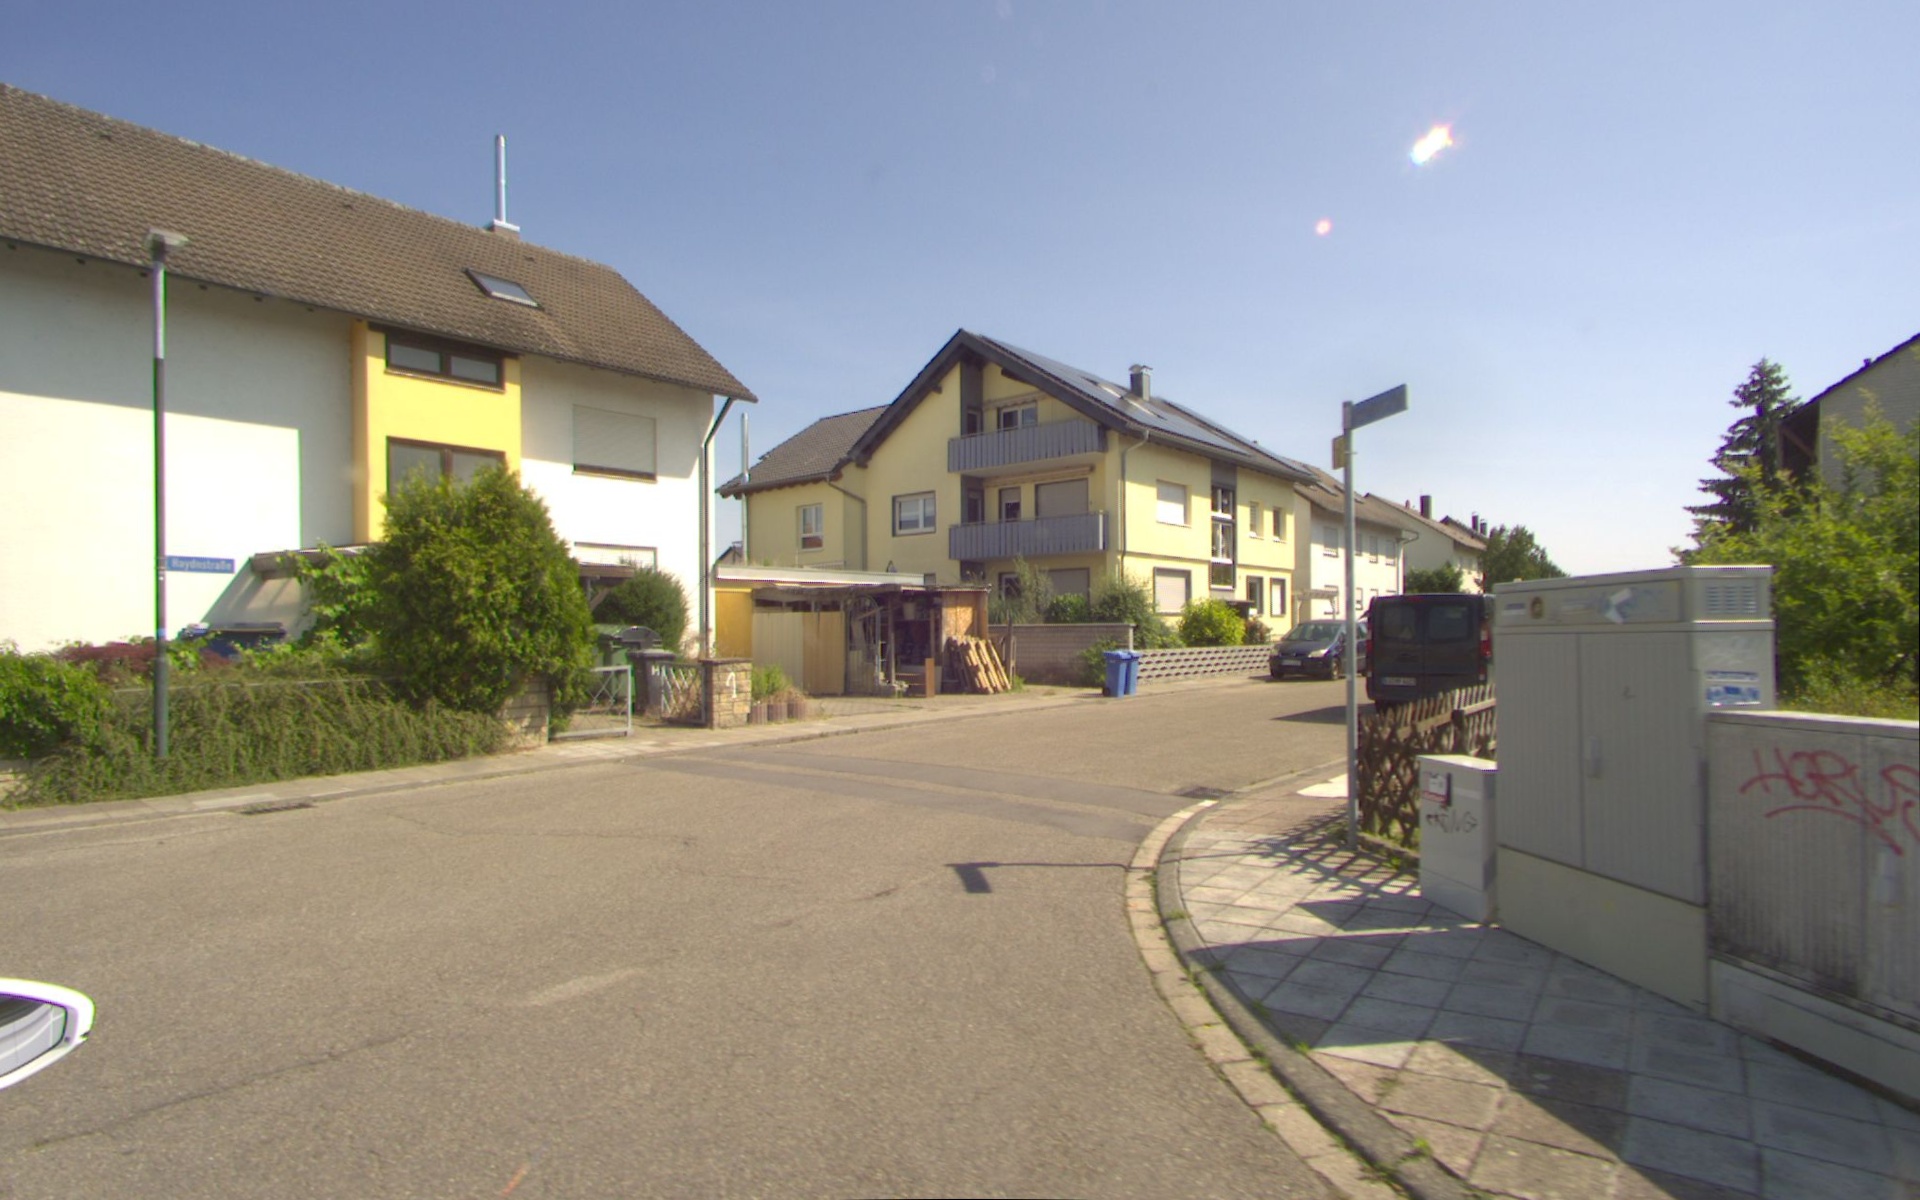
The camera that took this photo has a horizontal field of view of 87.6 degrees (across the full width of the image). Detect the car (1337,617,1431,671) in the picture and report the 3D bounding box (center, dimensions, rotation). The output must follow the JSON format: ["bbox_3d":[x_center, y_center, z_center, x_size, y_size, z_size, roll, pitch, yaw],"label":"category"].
[{"bbox_3d":[13.624,1.387,32.078,1.615,1.646,3.968,-2,-2,41],"label":"car"}]

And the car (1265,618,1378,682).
[{"bbox_3d":[10.069,1.353,27.739,1.615,1.646,3.968,-2,-2,41],"label":"car"}]

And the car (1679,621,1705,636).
[{"bbox_3d":[71.340,2.816,97.627,1.686,1.357,3.982,-2,-3,32],"label":"car"}]

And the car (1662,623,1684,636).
[{"bbox_3d":[77.433,3.242,108.745,1.686,1.357,3.982,-2,-3,32],"label":"car"}]

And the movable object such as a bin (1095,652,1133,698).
[{"bbox_3d":[3.262,1.573,21.182,0.578,0.928,0.593,-2,-1,39],"label":"movable object such as a bin"}]

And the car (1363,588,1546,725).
[{"bbox_3d":[8.299,0.875,16.618,1.849,1.963,4.173,-2,-2,39],"label":"car"}]

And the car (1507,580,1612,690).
[{"bbox_3d":[14.243,0.810,23.701,1.538,2.353,4.173,-2,-2,39],"label":"car"}]
